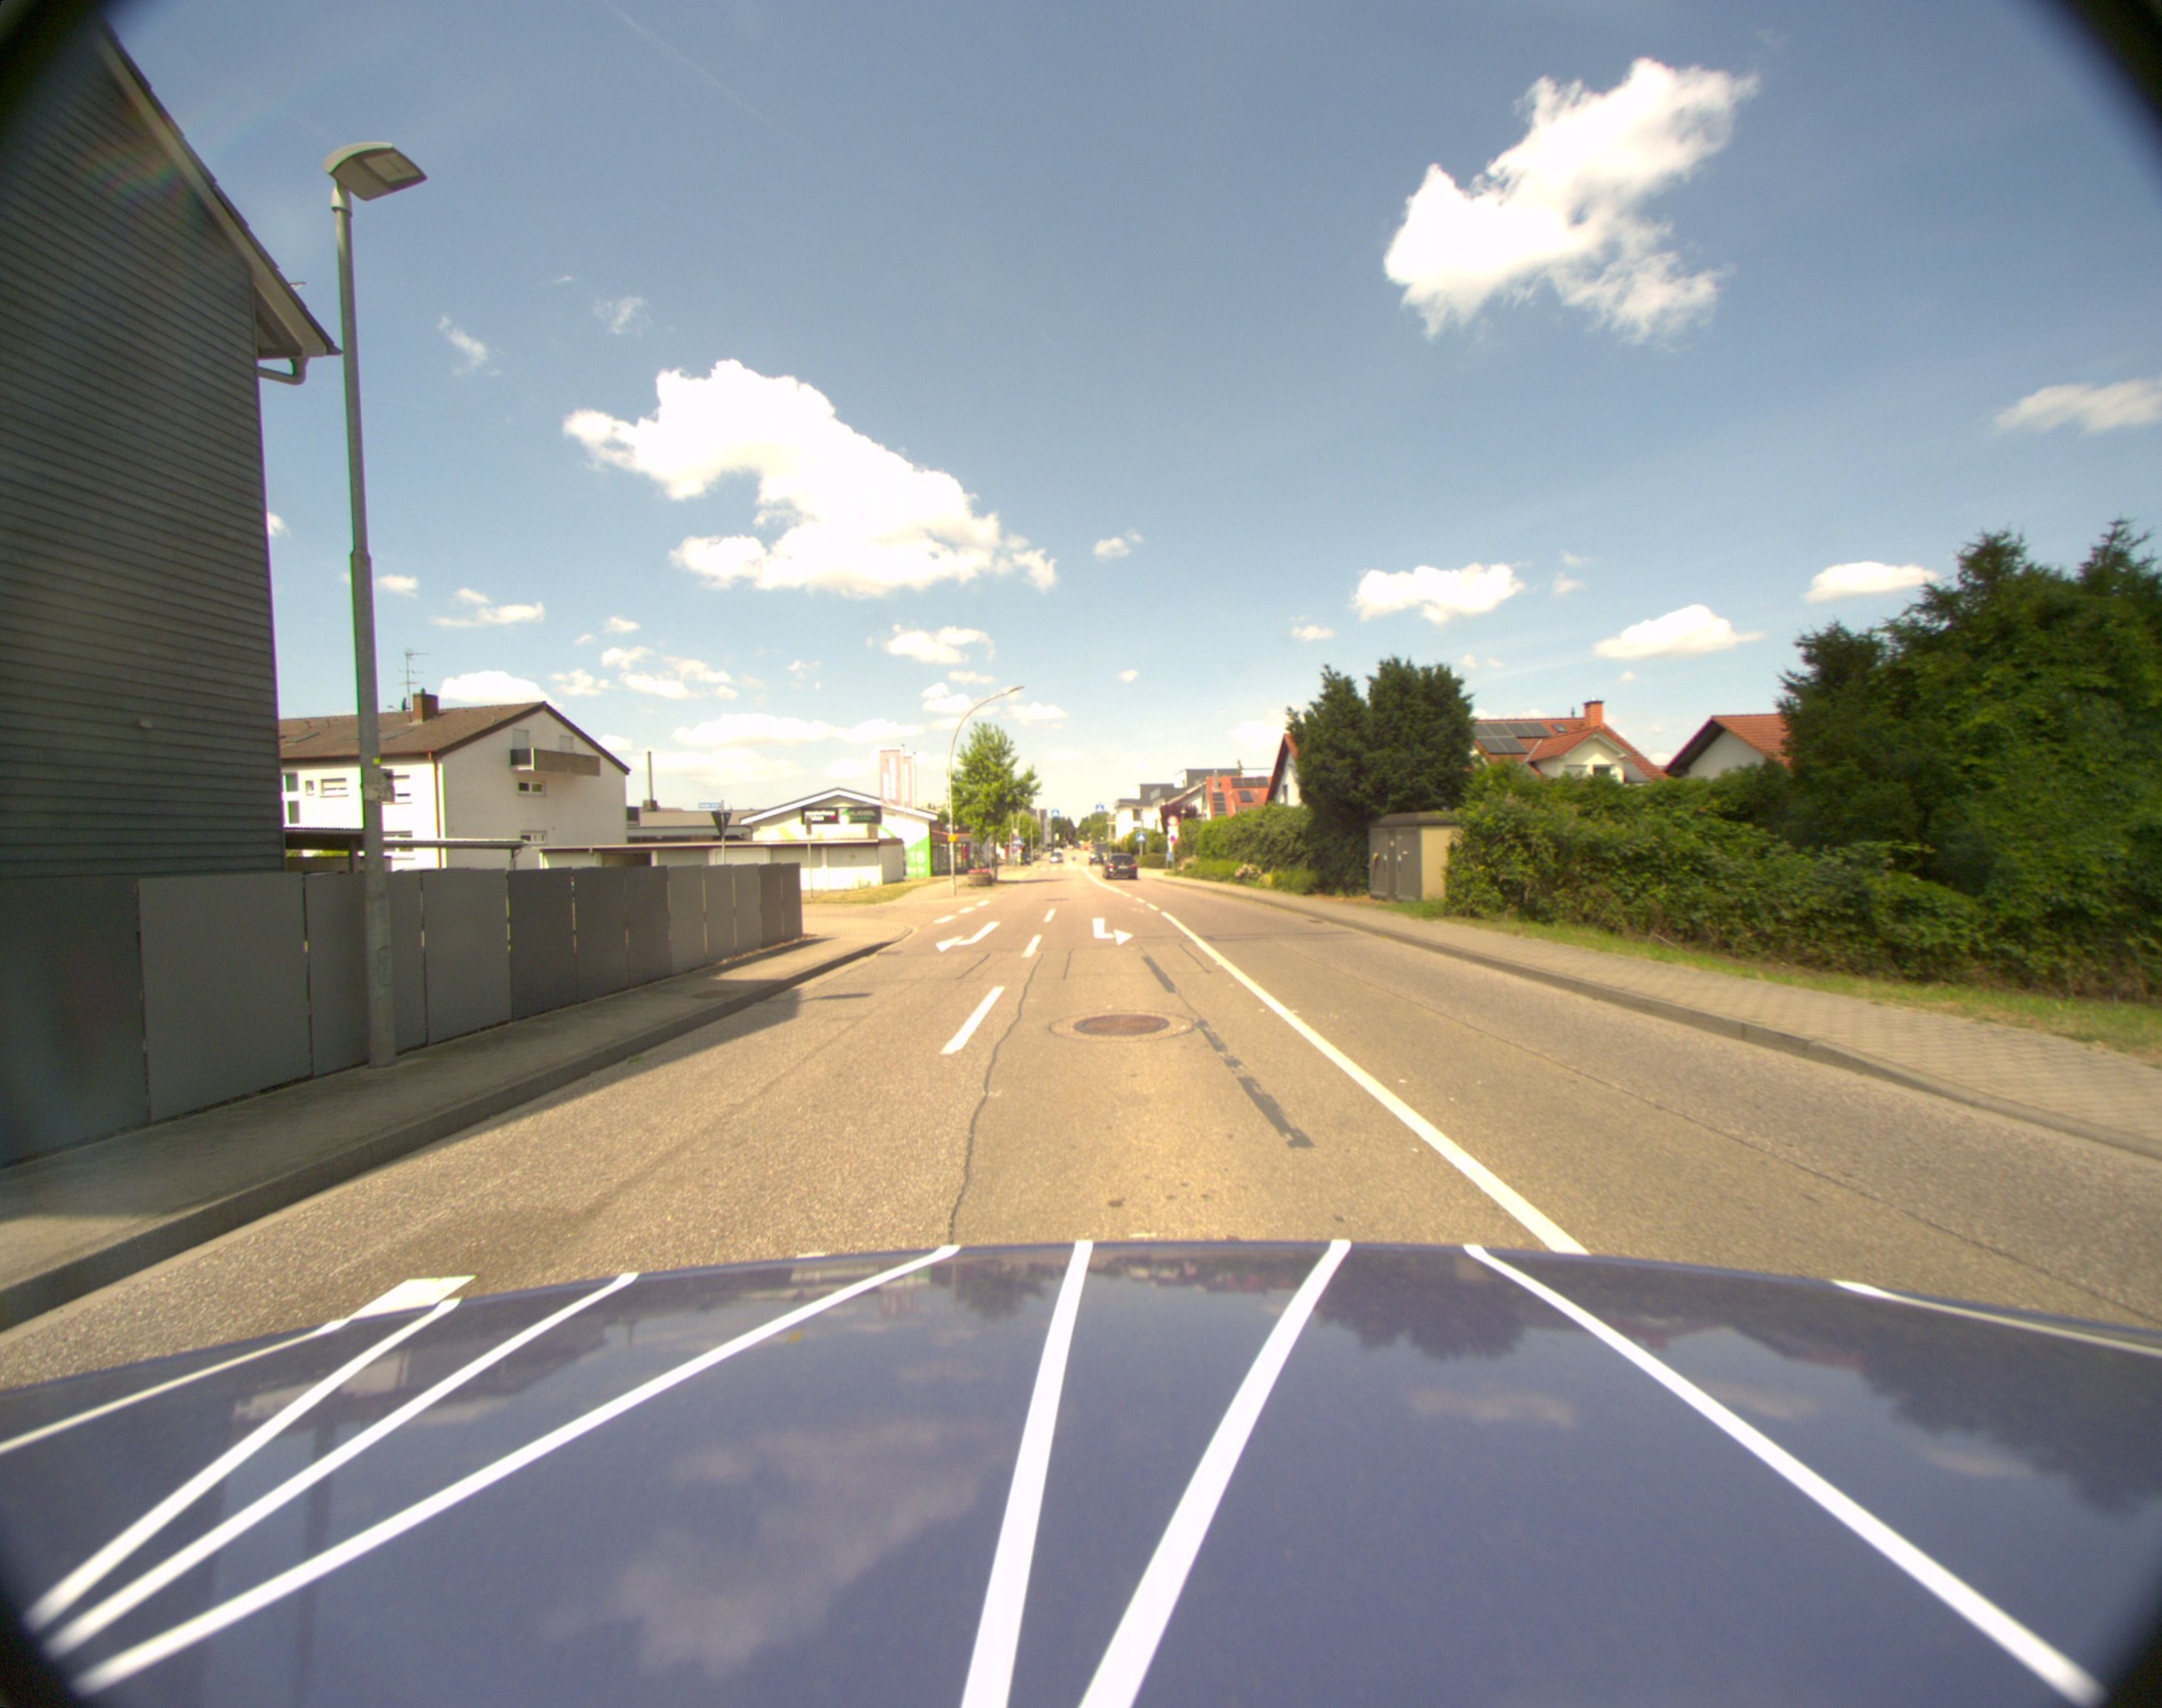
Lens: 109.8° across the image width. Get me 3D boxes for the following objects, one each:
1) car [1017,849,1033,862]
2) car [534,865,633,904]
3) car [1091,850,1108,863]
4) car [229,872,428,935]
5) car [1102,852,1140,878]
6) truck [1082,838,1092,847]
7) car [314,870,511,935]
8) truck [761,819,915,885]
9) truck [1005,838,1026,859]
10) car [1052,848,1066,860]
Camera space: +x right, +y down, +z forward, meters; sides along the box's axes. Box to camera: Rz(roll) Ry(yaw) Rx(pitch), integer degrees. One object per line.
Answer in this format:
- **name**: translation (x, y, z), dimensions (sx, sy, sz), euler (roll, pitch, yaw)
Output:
- **car**: translation (-6.549, 0.164, 89.870), dimensions (1.729, 1.484, 3.758), euler (0, 1, -2)
- **car**: translation (-22.290, 1.332, 34.256), dimensions (1.679, 1.494, 4.131), euler (-2, 1, 0)
- **car**: translation (1.991, 0.264, 83.473), dimensions (1.785, 1.425, 3.871), euler (0, 0, -1)
- **car**: translation (-21.055, 1.324, 21.509), dimensions (1.741, 1.577, 3.854), euler (-1, -1, 2)
- **car**: translation (2.261, 0.591, 44.221), dimensions (1.868, 1.434, 4.670), euler (0, 1, -1)
- **truck**: translation (1.960, -3.930, 257.633), dimensions (2.863, 2.695, 6.793), euler (0, 1, 6)
- **car**: translation (-18.574, 1.275, 21.418), dimensions (1.741, 1.638, 4.217), euler (-1, -1, 2)
- **truck**: translation (-14.323, -0.139, 45.309), dimensions (8.192, 3.553, 2.676), euler (-2, 2, -2)
- **truck**: translation (-9.106, -0.783, 104.782), dimensions (2.580, 2.746, 6.329), euler (0, 1, -7)
- **car**: translation (-2.933, -0.008, 101.438), dimensions (1.729, 1.484, 3.759), euler (0, 1, -1)
